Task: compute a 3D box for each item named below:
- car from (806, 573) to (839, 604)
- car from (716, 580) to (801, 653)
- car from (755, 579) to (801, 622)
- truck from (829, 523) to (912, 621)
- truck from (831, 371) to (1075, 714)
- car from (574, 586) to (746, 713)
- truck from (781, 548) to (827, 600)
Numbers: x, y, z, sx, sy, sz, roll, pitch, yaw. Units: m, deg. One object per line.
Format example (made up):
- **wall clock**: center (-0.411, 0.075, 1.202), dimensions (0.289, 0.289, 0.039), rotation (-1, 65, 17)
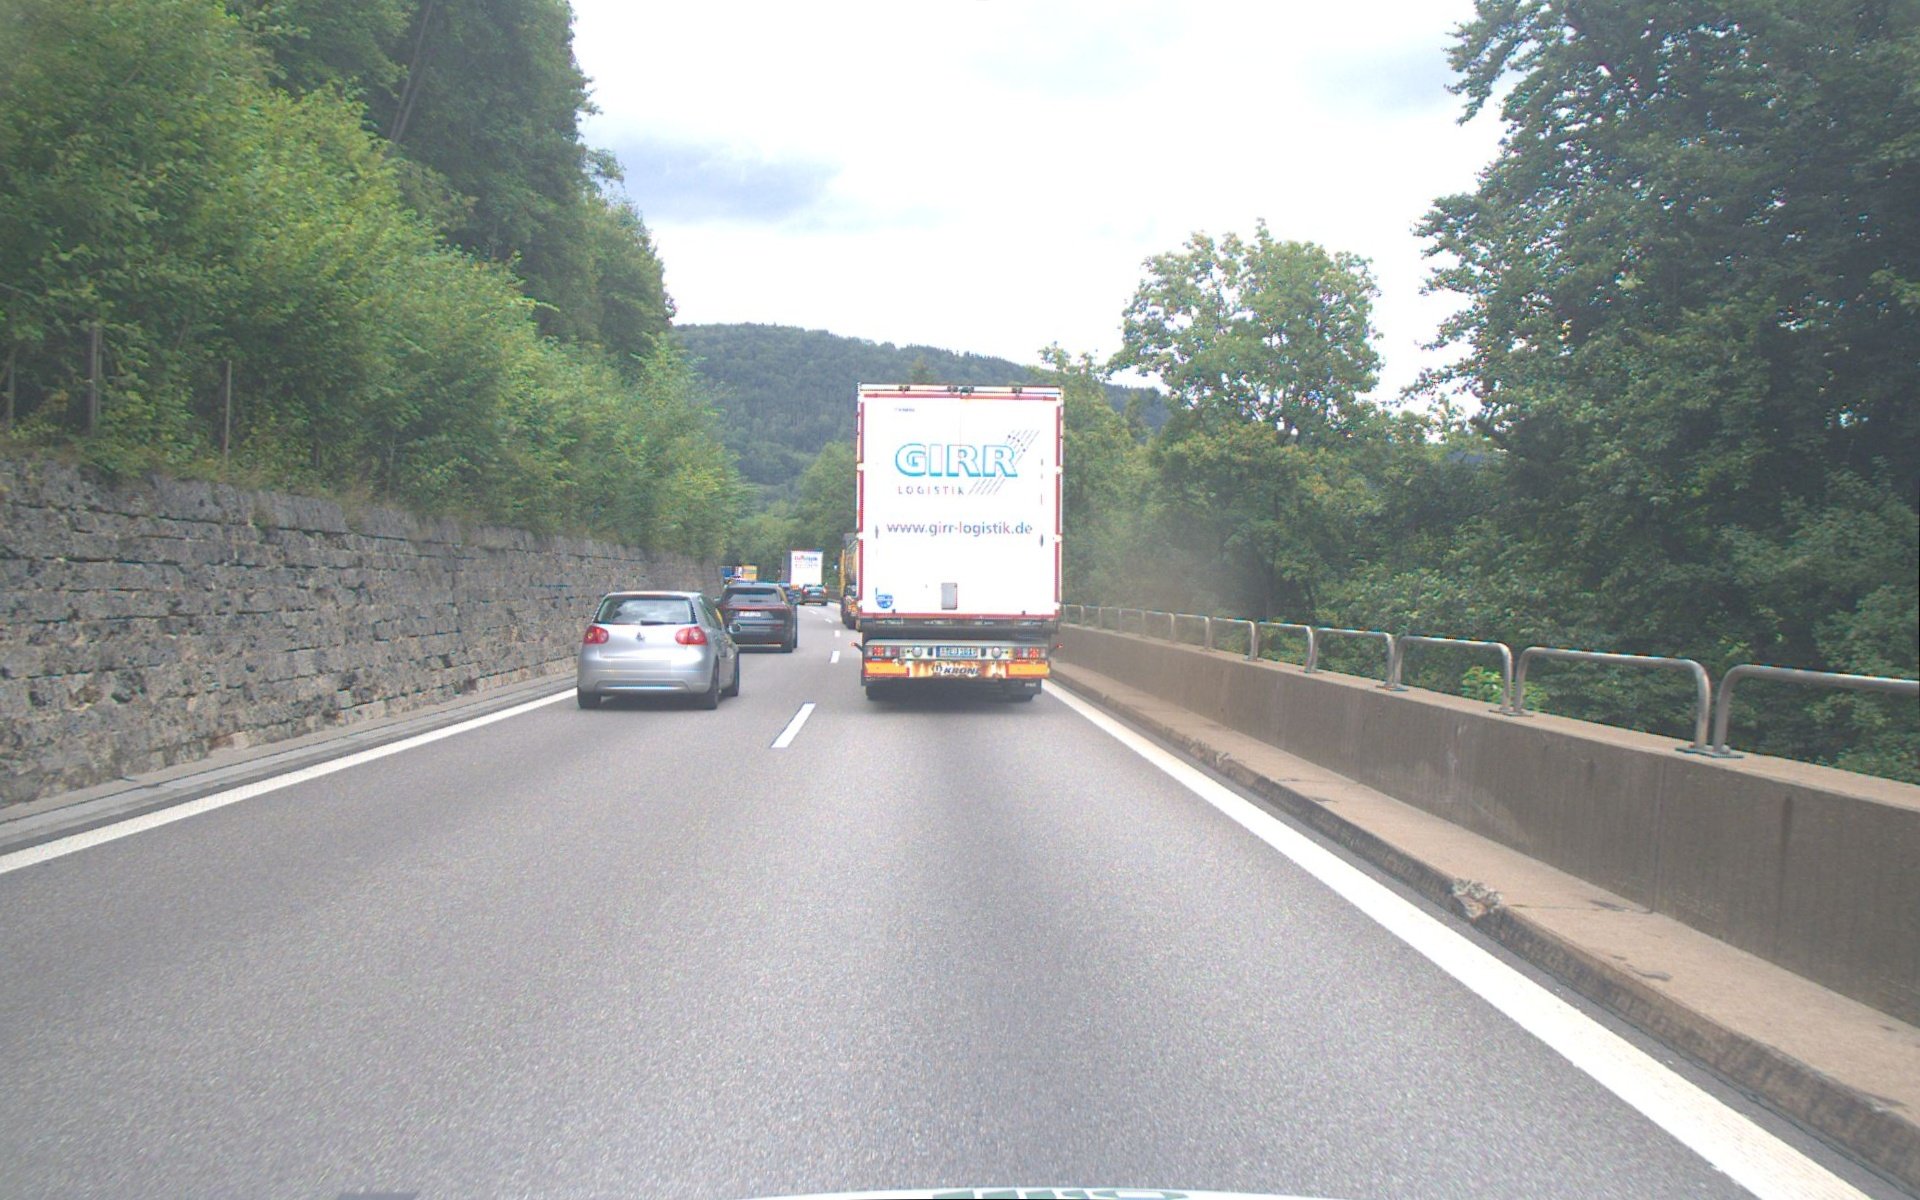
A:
- **car**: center (-9.348, -0.766, 112.928), dimensions (1.953, 2.049, 3.999), rotation (1, 0, -1)
- **car**: center (-4.774, 0.367, 39.383), dimensions (1.880, 1.622, 4.173), rotation (1, 0, -6)
- **car**: center (-8.176, 0.018, 74.733), dimensions (1.955, 1.881, 3.996), rotation (1, 0, -5)
- **truck**: center (-3.696, -1.062, 66.576), dimensions (2.440, 3.634, 9.290), rotation (1, 0, -9)
- **truck**: center (-0.149, -0.706, 24.264), dimensions (2.849, 4.030, 9.277), rotation (1, 0, -1)
- **car**: center (-3.853, 0.589, 21.821), dimensions (1.694, 1.512, 3.998), rotation (1, 0, -3)
- **truck**: center (-12.778, -2.009, 134.581), dimensions (3.444, 3.914, 11.759), rotation (1, 0, -6)
